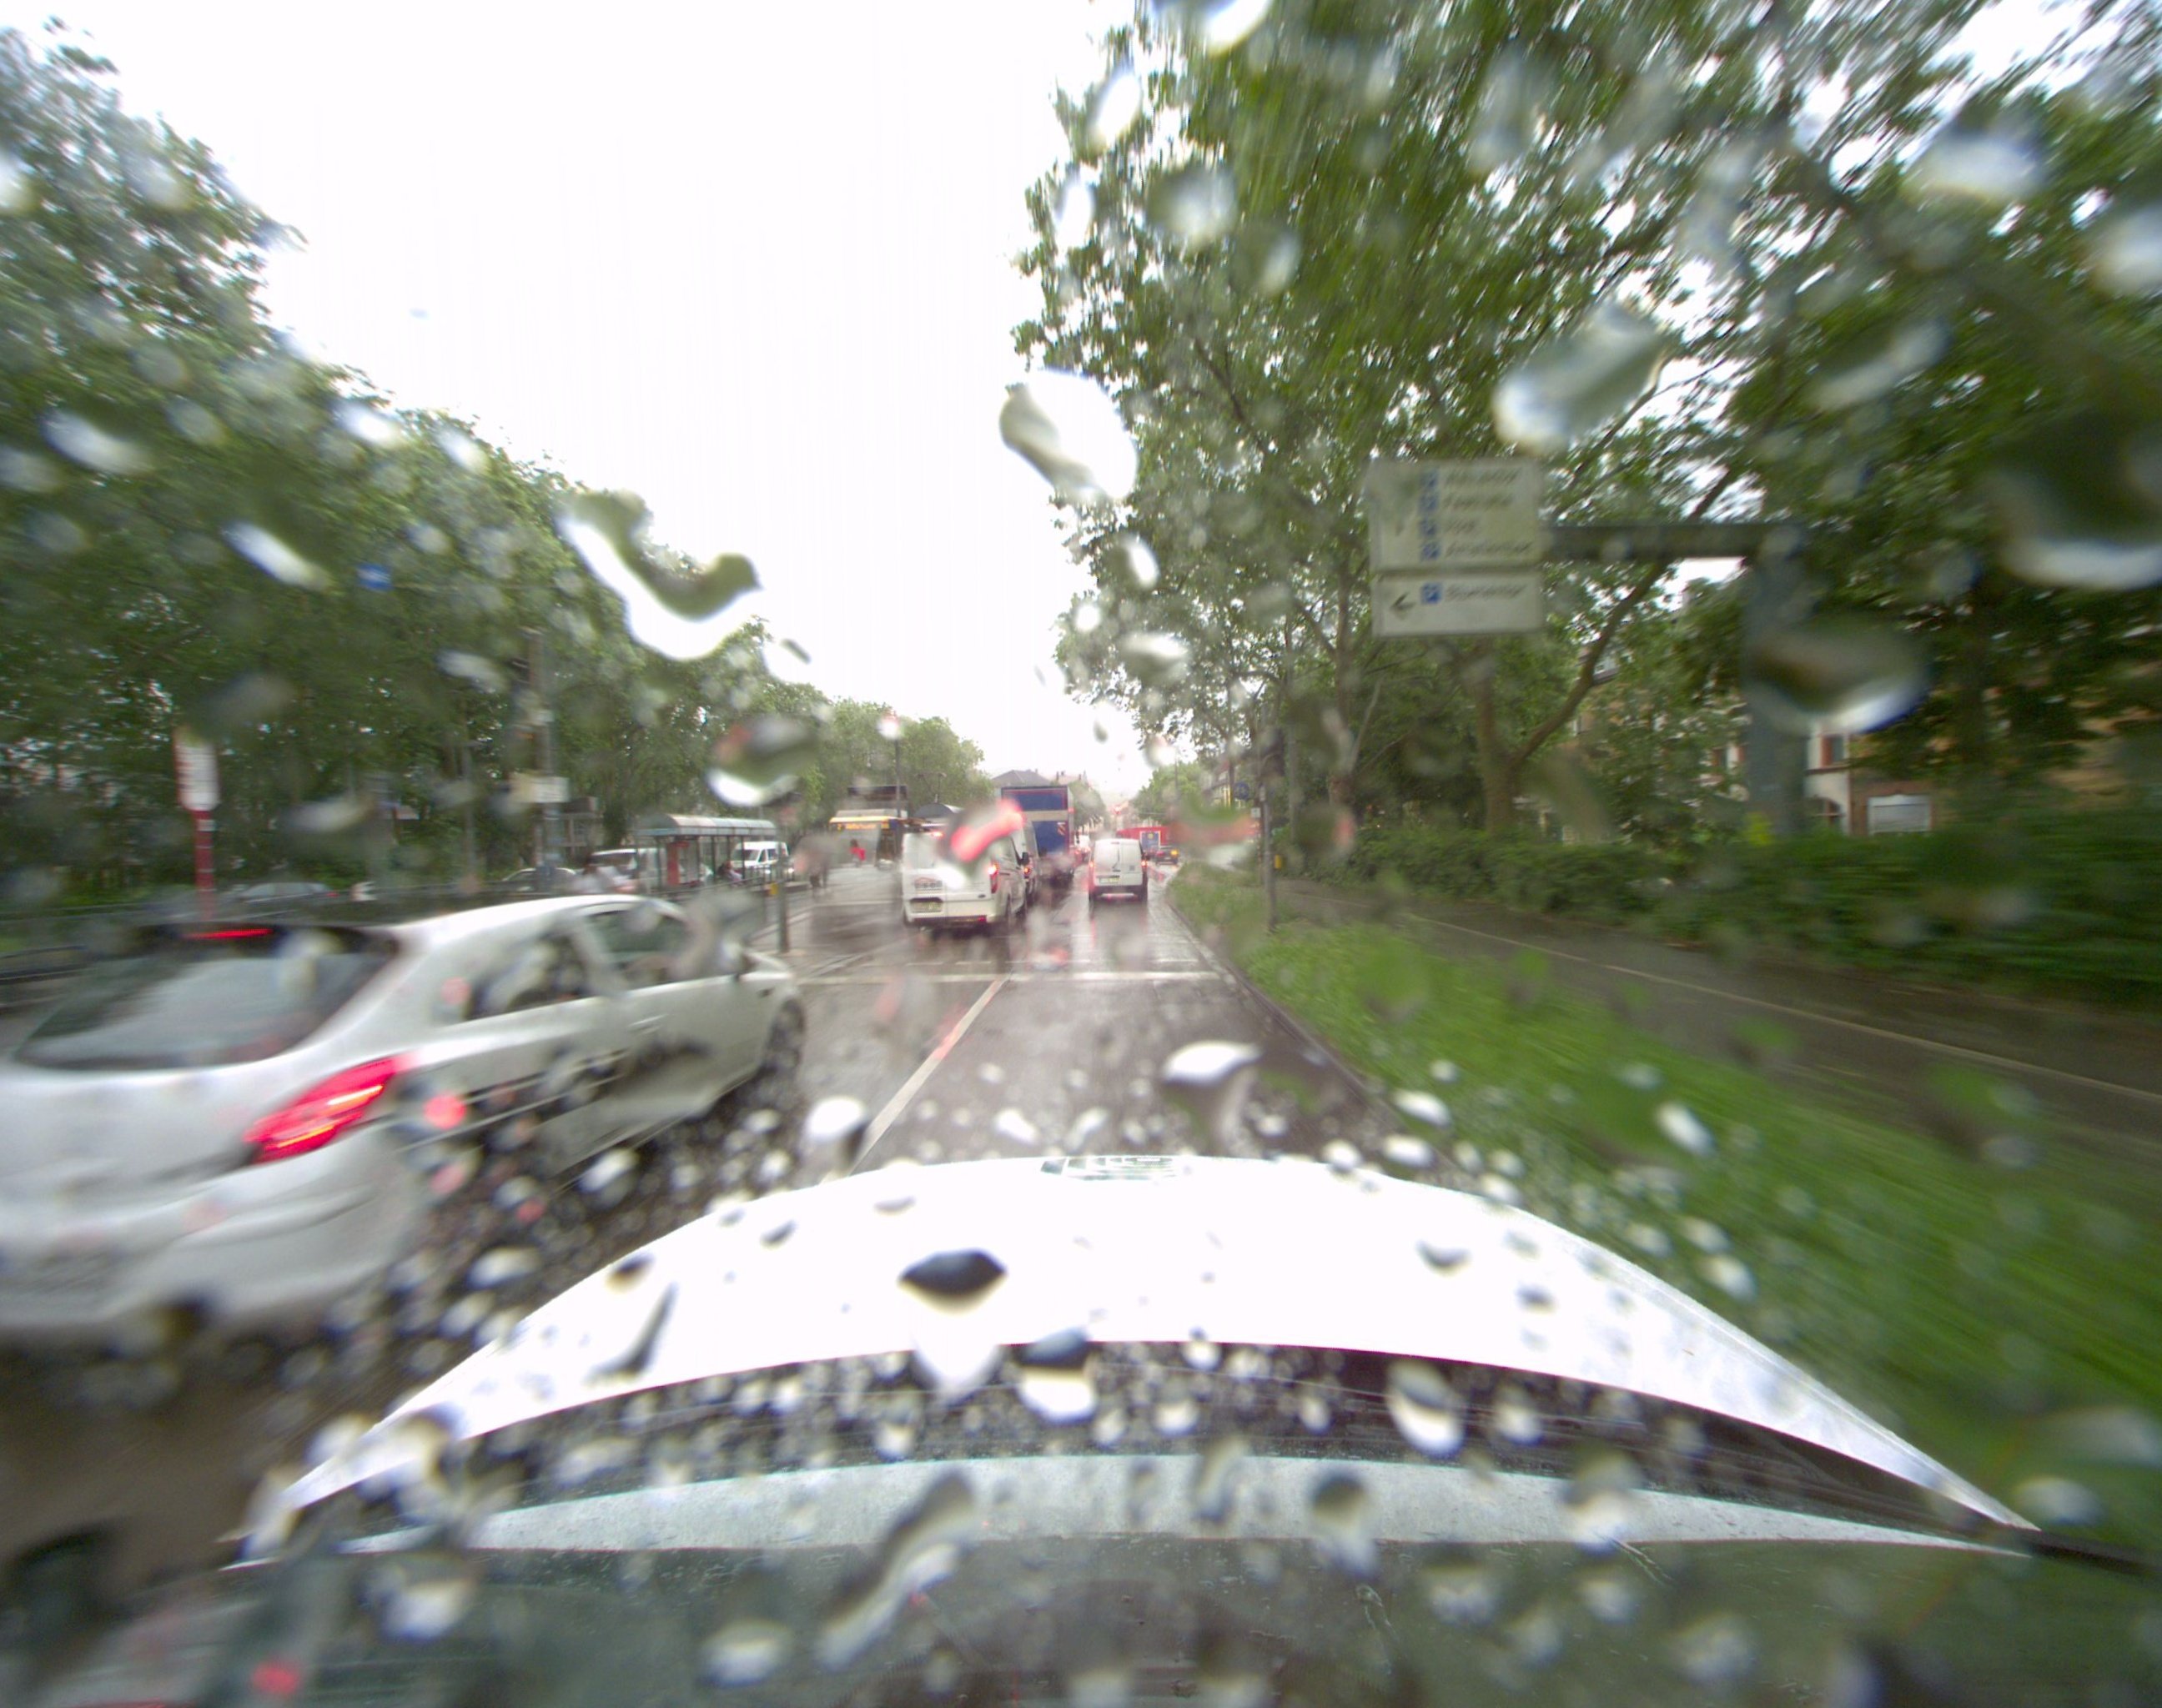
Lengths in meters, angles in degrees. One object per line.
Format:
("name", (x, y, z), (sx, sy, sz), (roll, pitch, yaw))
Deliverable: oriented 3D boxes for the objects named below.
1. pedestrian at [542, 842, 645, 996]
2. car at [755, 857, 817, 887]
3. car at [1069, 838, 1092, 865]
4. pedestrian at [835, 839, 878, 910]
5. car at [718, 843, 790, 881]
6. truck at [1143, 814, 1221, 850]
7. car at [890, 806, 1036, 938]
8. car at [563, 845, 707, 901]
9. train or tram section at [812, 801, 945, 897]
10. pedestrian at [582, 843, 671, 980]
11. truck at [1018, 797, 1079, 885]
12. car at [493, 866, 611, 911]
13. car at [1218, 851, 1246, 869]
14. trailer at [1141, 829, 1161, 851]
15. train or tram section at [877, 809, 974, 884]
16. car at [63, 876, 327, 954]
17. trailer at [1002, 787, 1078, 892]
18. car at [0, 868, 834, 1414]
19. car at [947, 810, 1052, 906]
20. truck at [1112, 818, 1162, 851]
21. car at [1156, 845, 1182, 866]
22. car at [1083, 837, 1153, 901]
("pedestrian", (-5.792, 0.748, 9.708), (0.713, 1.744, 0.751), (-2, 0, 1))
("car", (-17.342, 1.034, 48.112), (1.985, 1.581, 4.003), (-3, 0, 3))
("car", (-0.006, -0.250, 77.117), (1.986, 2.442, 4.614), (0, 0, 2))
("pedestrian", (-5.533, 0.509, 20.102), (0.787, 1.714, 0.771), (0, -1, 1))
("car", (-20.392, 0.462, 51.085), (1.984, 2.223, 5.231), (-2, 0, 4))
("truck", (15.765, -3.414, 127.259), (11.263, 4.899, 3.307), (-3, 1, 22))
("car", (-2.196, 0.339, 16.786), (1.985, 2.262, 5.292), (-1, -1, 2))
("car", (-17.790, 0.697, 32.972), (2.175, 2.013, 6.118), (-2, 0, 2))
("train or tram section", (-7.931, -0.257, 33.278), (2.950, 3.285, 8.363), (-3, 1, 1))
("pedestrian", (-6.036, 0.737, 10.856), (0.675, 1.738, 0.808), (-2, 0, 1))
("truck", (-1.465, -0.611, 38.549), (2.571, 3.904, 4.001), (-1, 0, 1))
("car", (-21.114, 1.331, 32.721), (1.926, 1.517, 4.003), (-3, 0, 3))
("car", (14.155, 0.567, 76.355), (1.816, 1.490, 4.354), (-3, 1, 1))
("trailer", (7.895, -1.493, 91.486), (1.983, 2.317, 4.677), (-1, -1, 7))
("train or tram section", (-7.706, -0.429, 41.680), (2.968, 3.285, 8.434), (-3, 1, 1))
("car", (-21.587, 1.413, 20.143), (1.985, 1.517, 4.003), (-3, 0, 3))
("trailer", (-1.546, -0.575, 34.457), (2.581, 3.899, 7.638), (-1, 0, 1))
("car", (-2.815, 0.843, 4.199), (1.718, 1.479, 3.808), (-1, -1, 3))
("car", (-2.341, 0.147, 25.186), (2.320, 2.557, 6.118), (-1, -1, 2))
("truck", (8.922, -3.089, 130.104), (7.094, 4.899, 3.307), (-3, 1, 22))
("car", (7.069, 0.112, 65.503), (1.983, 1.542, 4.007), (-2, 0, 6))
("car", (1.131, 0.444, 24.868), (1.951, 1.777, 3.571), (-1, -1, 2))
